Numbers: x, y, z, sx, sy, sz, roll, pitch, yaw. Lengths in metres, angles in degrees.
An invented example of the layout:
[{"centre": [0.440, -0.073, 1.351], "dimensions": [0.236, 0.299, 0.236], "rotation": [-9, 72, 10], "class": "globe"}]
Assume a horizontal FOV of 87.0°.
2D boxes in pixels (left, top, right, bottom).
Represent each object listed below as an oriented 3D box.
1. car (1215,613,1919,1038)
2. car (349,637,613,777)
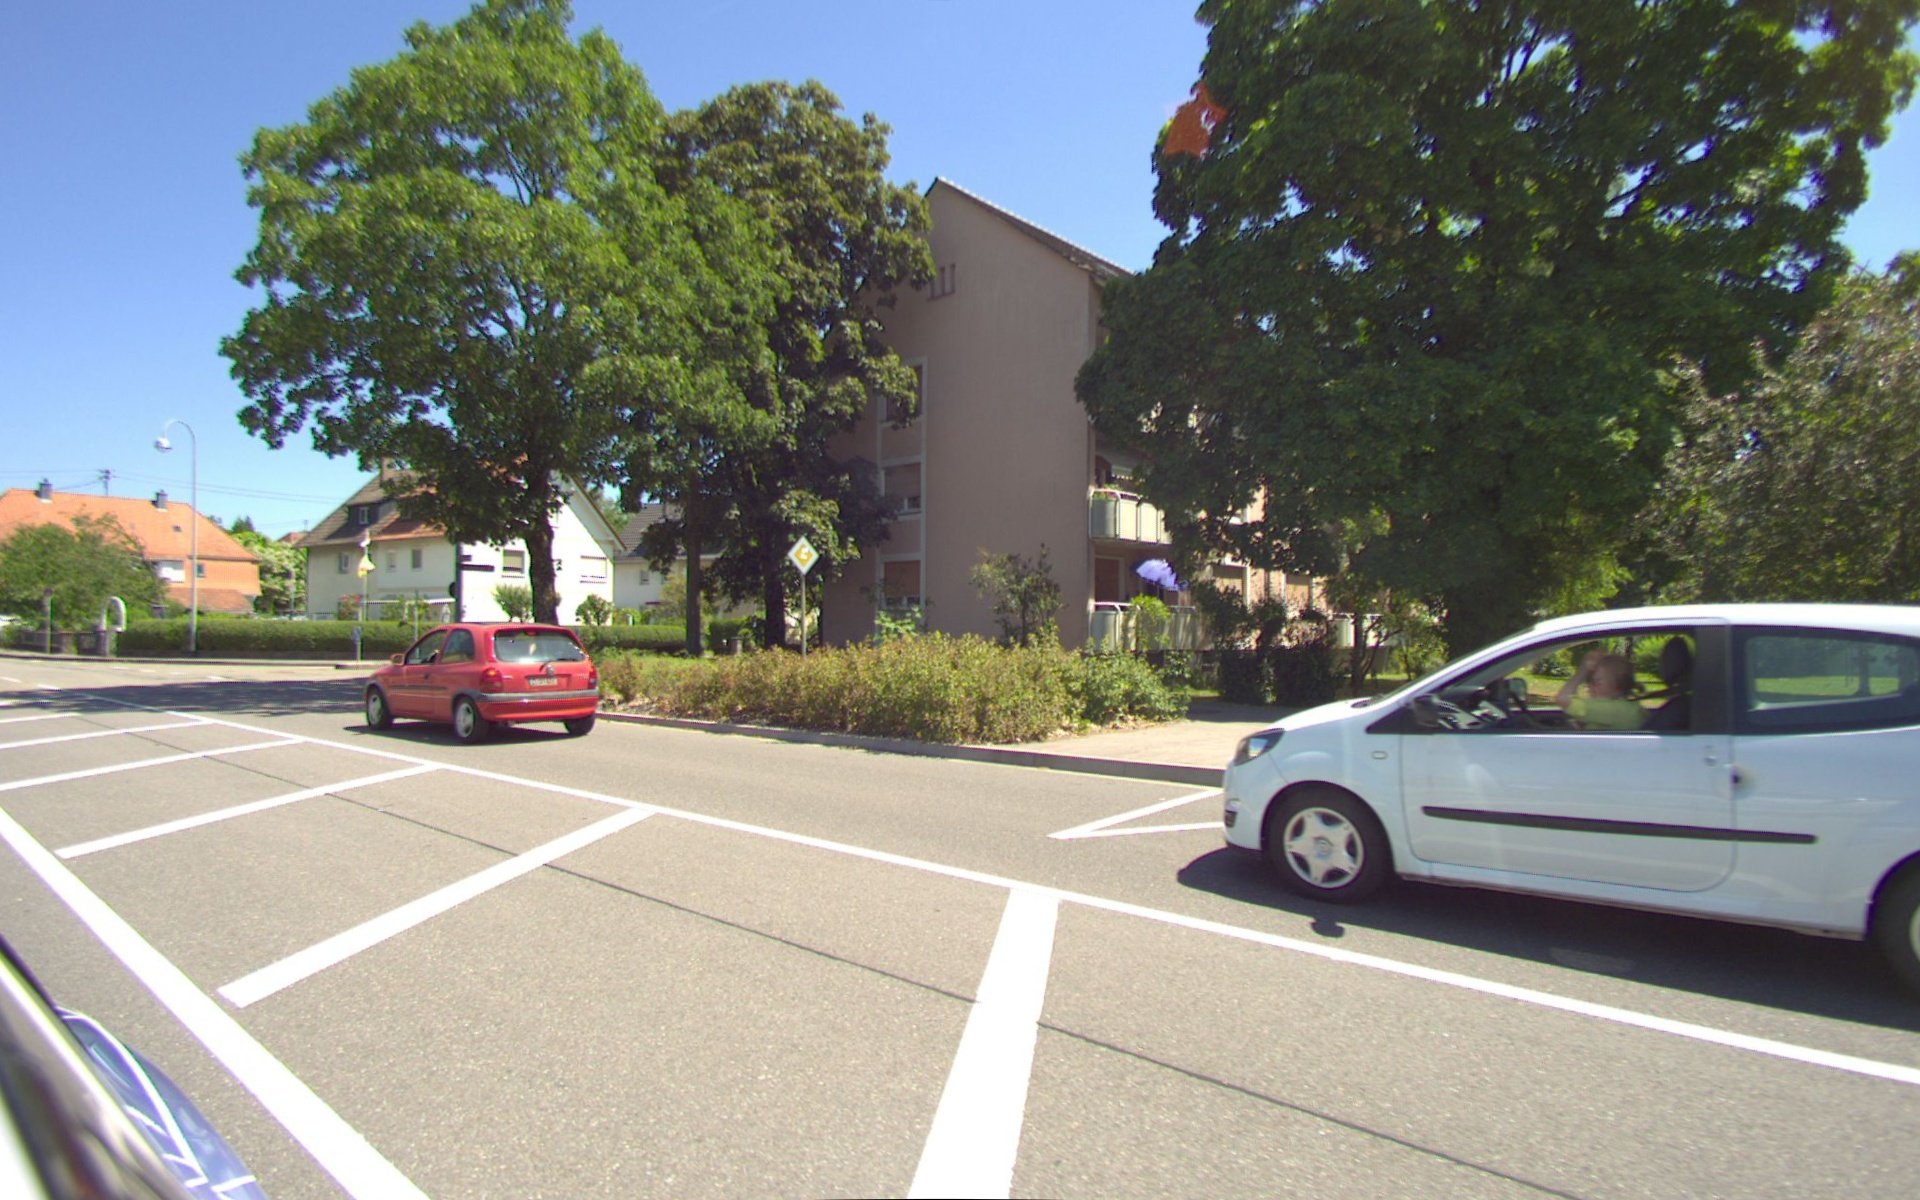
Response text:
[{"centre": [3.275, 0.838, 4.751], "dimensions": [3.636, 1.471, 1.674], "rotation": [-3, -2, 40], "class": "car"}, {"centre": [-6.119, 1.227, 12.782], "dimensions": [3.685, 1.461, 1.535], "rotation": [-1, -1, 38], "class": "car"}]
